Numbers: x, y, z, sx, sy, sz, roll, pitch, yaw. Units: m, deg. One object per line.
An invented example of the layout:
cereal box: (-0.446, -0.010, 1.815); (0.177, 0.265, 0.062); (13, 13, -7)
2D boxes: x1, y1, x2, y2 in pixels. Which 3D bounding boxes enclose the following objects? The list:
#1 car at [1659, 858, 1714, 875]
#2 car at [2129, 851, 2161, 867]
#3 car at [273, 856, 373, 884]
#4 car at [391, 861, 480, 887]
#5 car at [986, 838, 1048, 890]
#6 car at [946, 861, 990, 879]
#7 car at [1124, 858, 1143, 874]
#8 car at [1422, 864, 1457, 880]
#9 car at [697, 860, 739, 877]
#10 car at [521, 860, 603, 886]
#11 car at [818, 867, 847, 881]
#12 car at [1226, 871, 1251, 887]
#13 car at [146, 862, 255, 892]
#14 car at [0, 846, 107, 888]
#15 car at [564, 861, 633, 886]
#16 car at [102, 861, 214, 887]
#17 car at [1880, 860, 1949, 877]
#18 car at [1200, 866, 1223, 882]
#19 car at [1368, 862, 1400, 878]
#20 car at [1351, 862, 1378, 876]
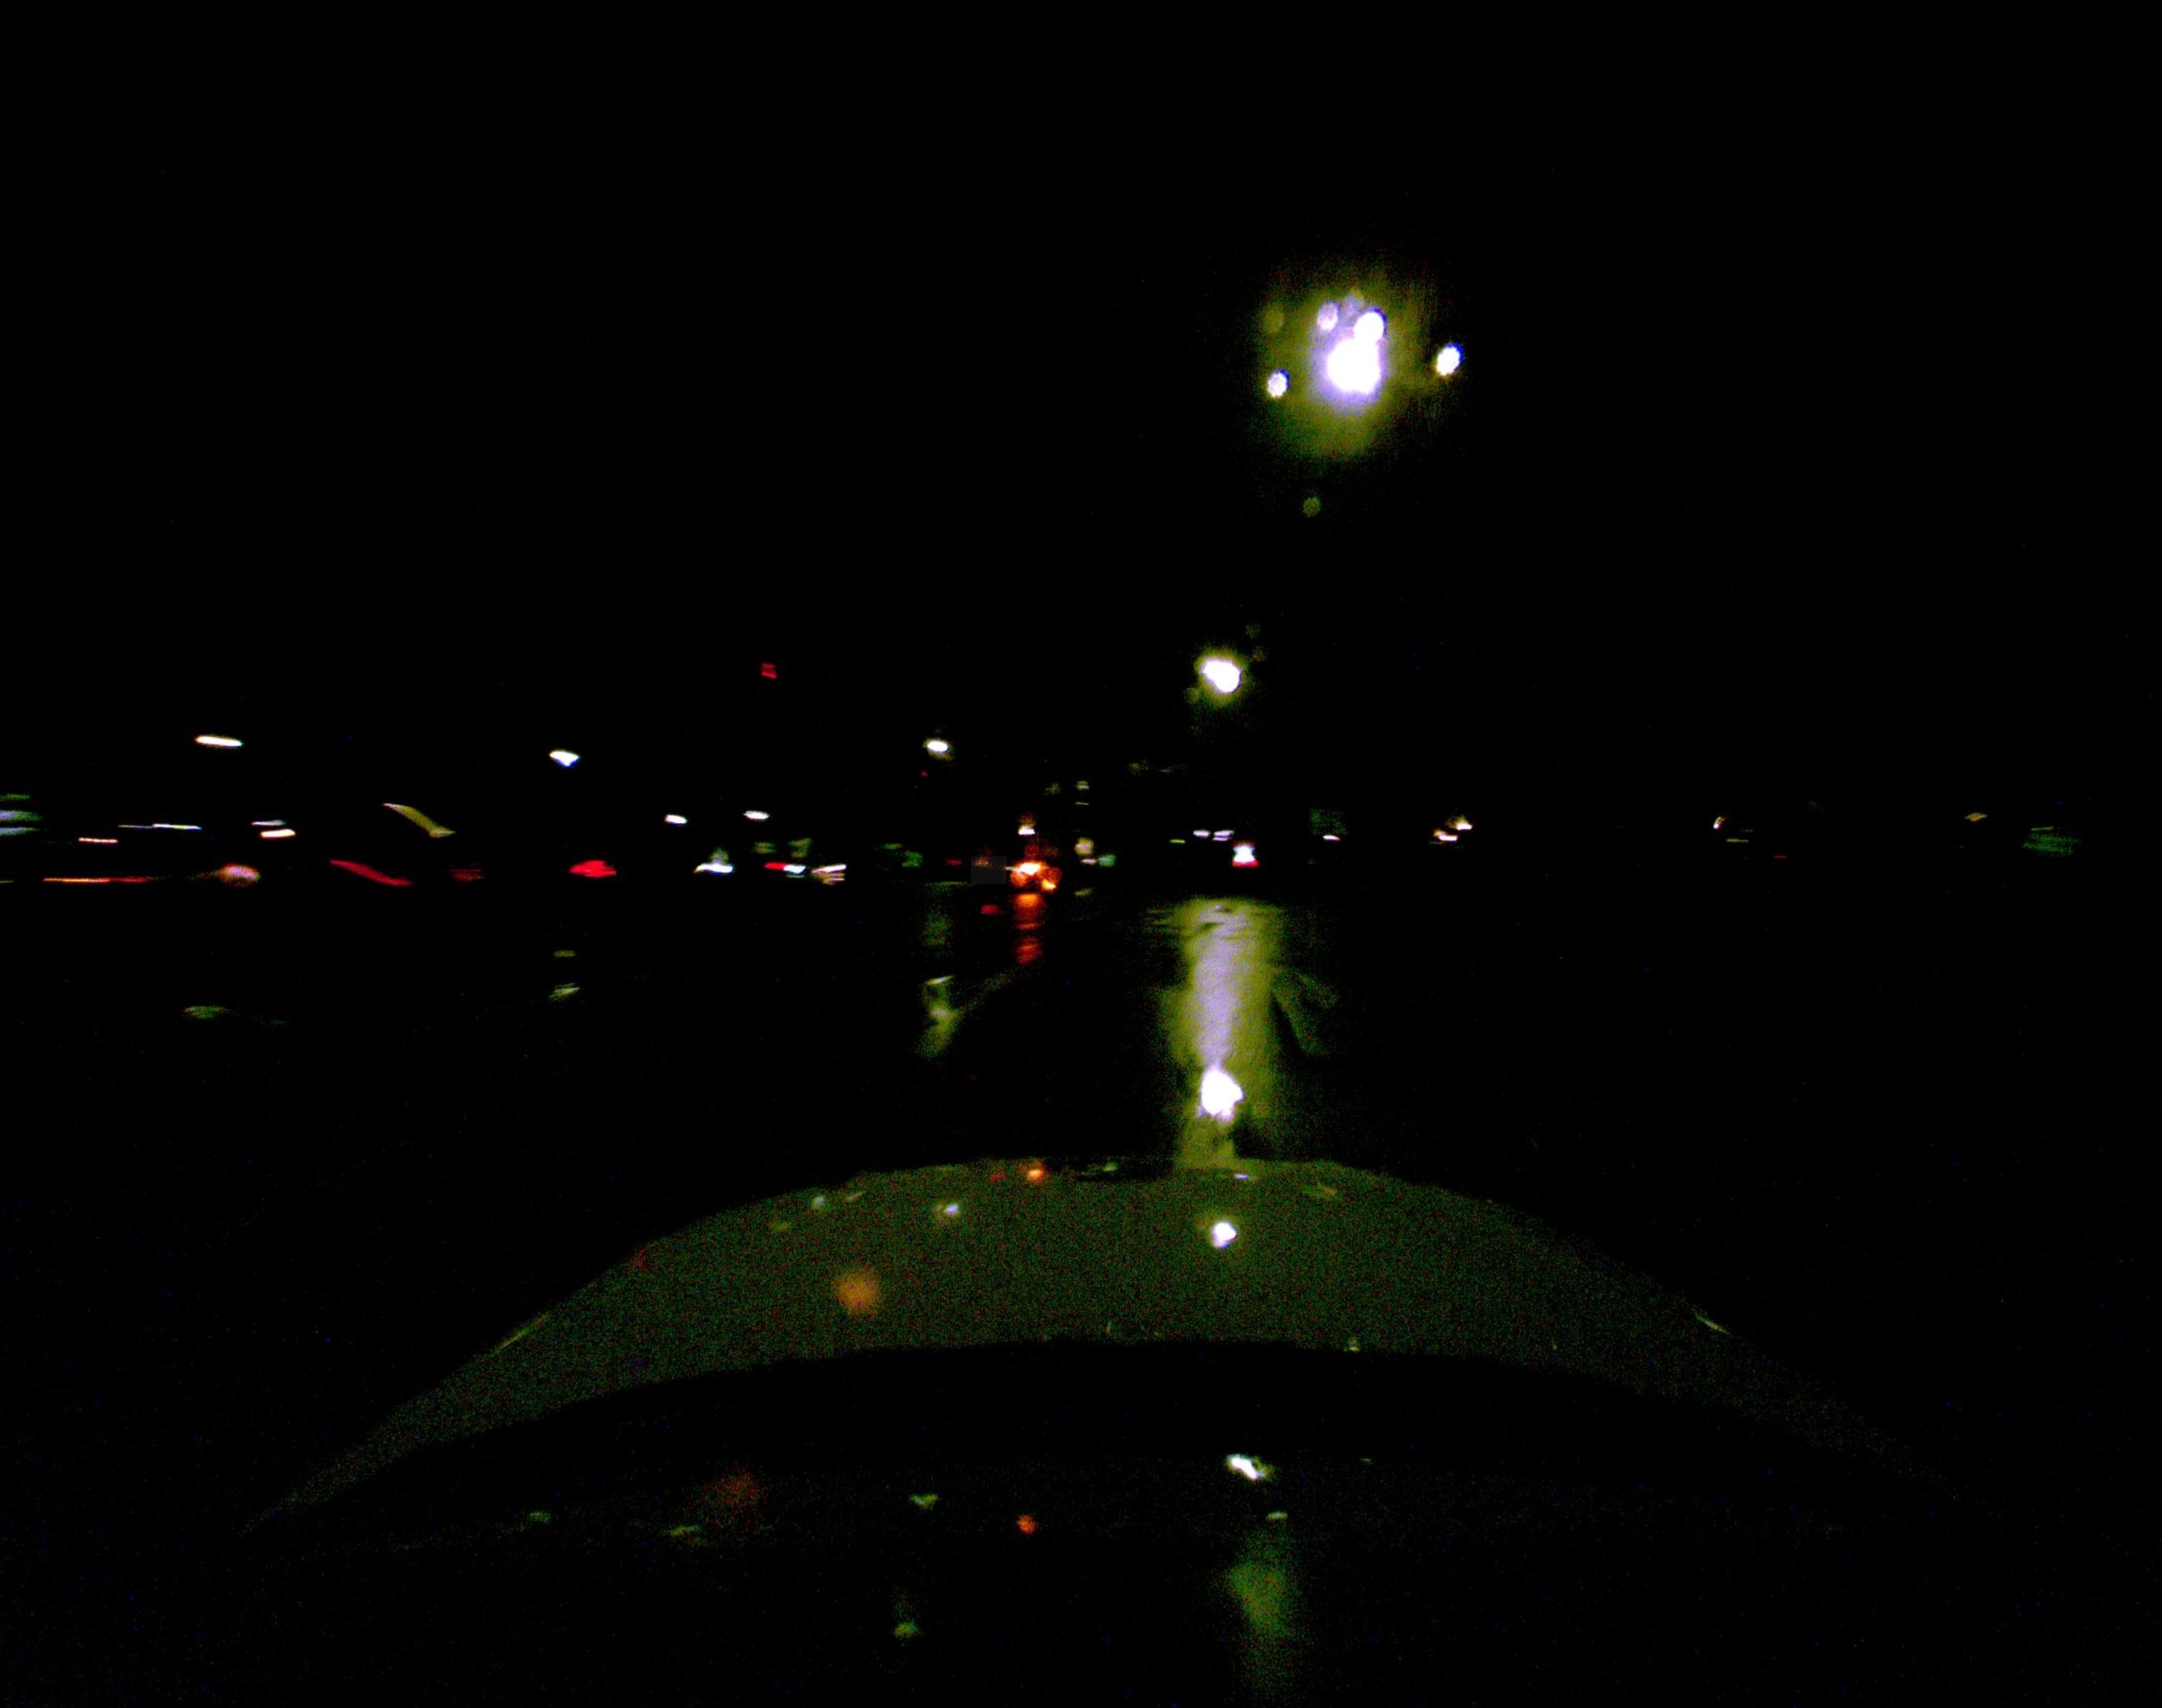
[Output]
car: (58.908, 1.257, 79.355); (1.710, 1.536, 4.995); (1, -1, 1)
car: (99.464, 0.452, 74.532); (1.710, 1.375, 4.149); (1, -1, 1)
car: (-45.008, 0.945, 48.470); (3.975, 1.579, 1.721); (2, -2, -29)
car: (-40.339, 1.270, 51.008); (3.968, 1.579, 1.862); (1, -1, -23)
car: (-2.648, 0.450, 34.894); (1.985, 2.014, 4.561); (1, -1, 3)
car: (-11.256, 1.622, 81.247); (3.963, 1.684, 1.923); (1, -1, 9)
car: (5.125, 1.190, 79.676); (1.710, 1.497, 3.911); (1, -1, 1)
car: (34.753, 1.731, 79.090); (1.710, 1.536, 3.911); (1, -1, 1)
car: (-37.058, 1.526, 83.300); (1.844, 1.640, 3.906); (1, -1, 15)
car: (-33.457, 1.219, 52.613); (3.985, 1.616, 1.831); (1, -1, -8)
car: (-33.260, 2.714, 109.126); (1.860, 1.758, 4.406); (1, -1, 10)
car: (15.299, 2.410, 79.262); (1.710, 1.536, 3.911); (1, -1, 1)
car: (-49.829, 1.293, 46.214); (4.021, 1.616, 1.814); (2, -2, -42)
car: (-54.558, 0.666, 41.383); (2.483, 2.089, 6.353); (0, -2, 38)
car: (-33.070, 1.336, 55.873); (3.607, 1.579, 1.736); (1, -1, -2)
car: (-54.277, 1.178, 47.995); (4.017, 1.486, 1.750); (2, -2, -36)
car: (80.722, 1.411, 78.963); (1.710, 1.536, 4.995); (1, -1, 1)
car: (12.691, 1.926, 79.331); (1.710, 1.497, 3.911); (1, -1, 1)
car: (29.519, 1.585, 79.317); (1.710, 1.536, 3.911); (1, -1, 1)
car: (31.519, 1.678, 90.738); (1.710, 1.536, 3.911); (1, -1, 1)
